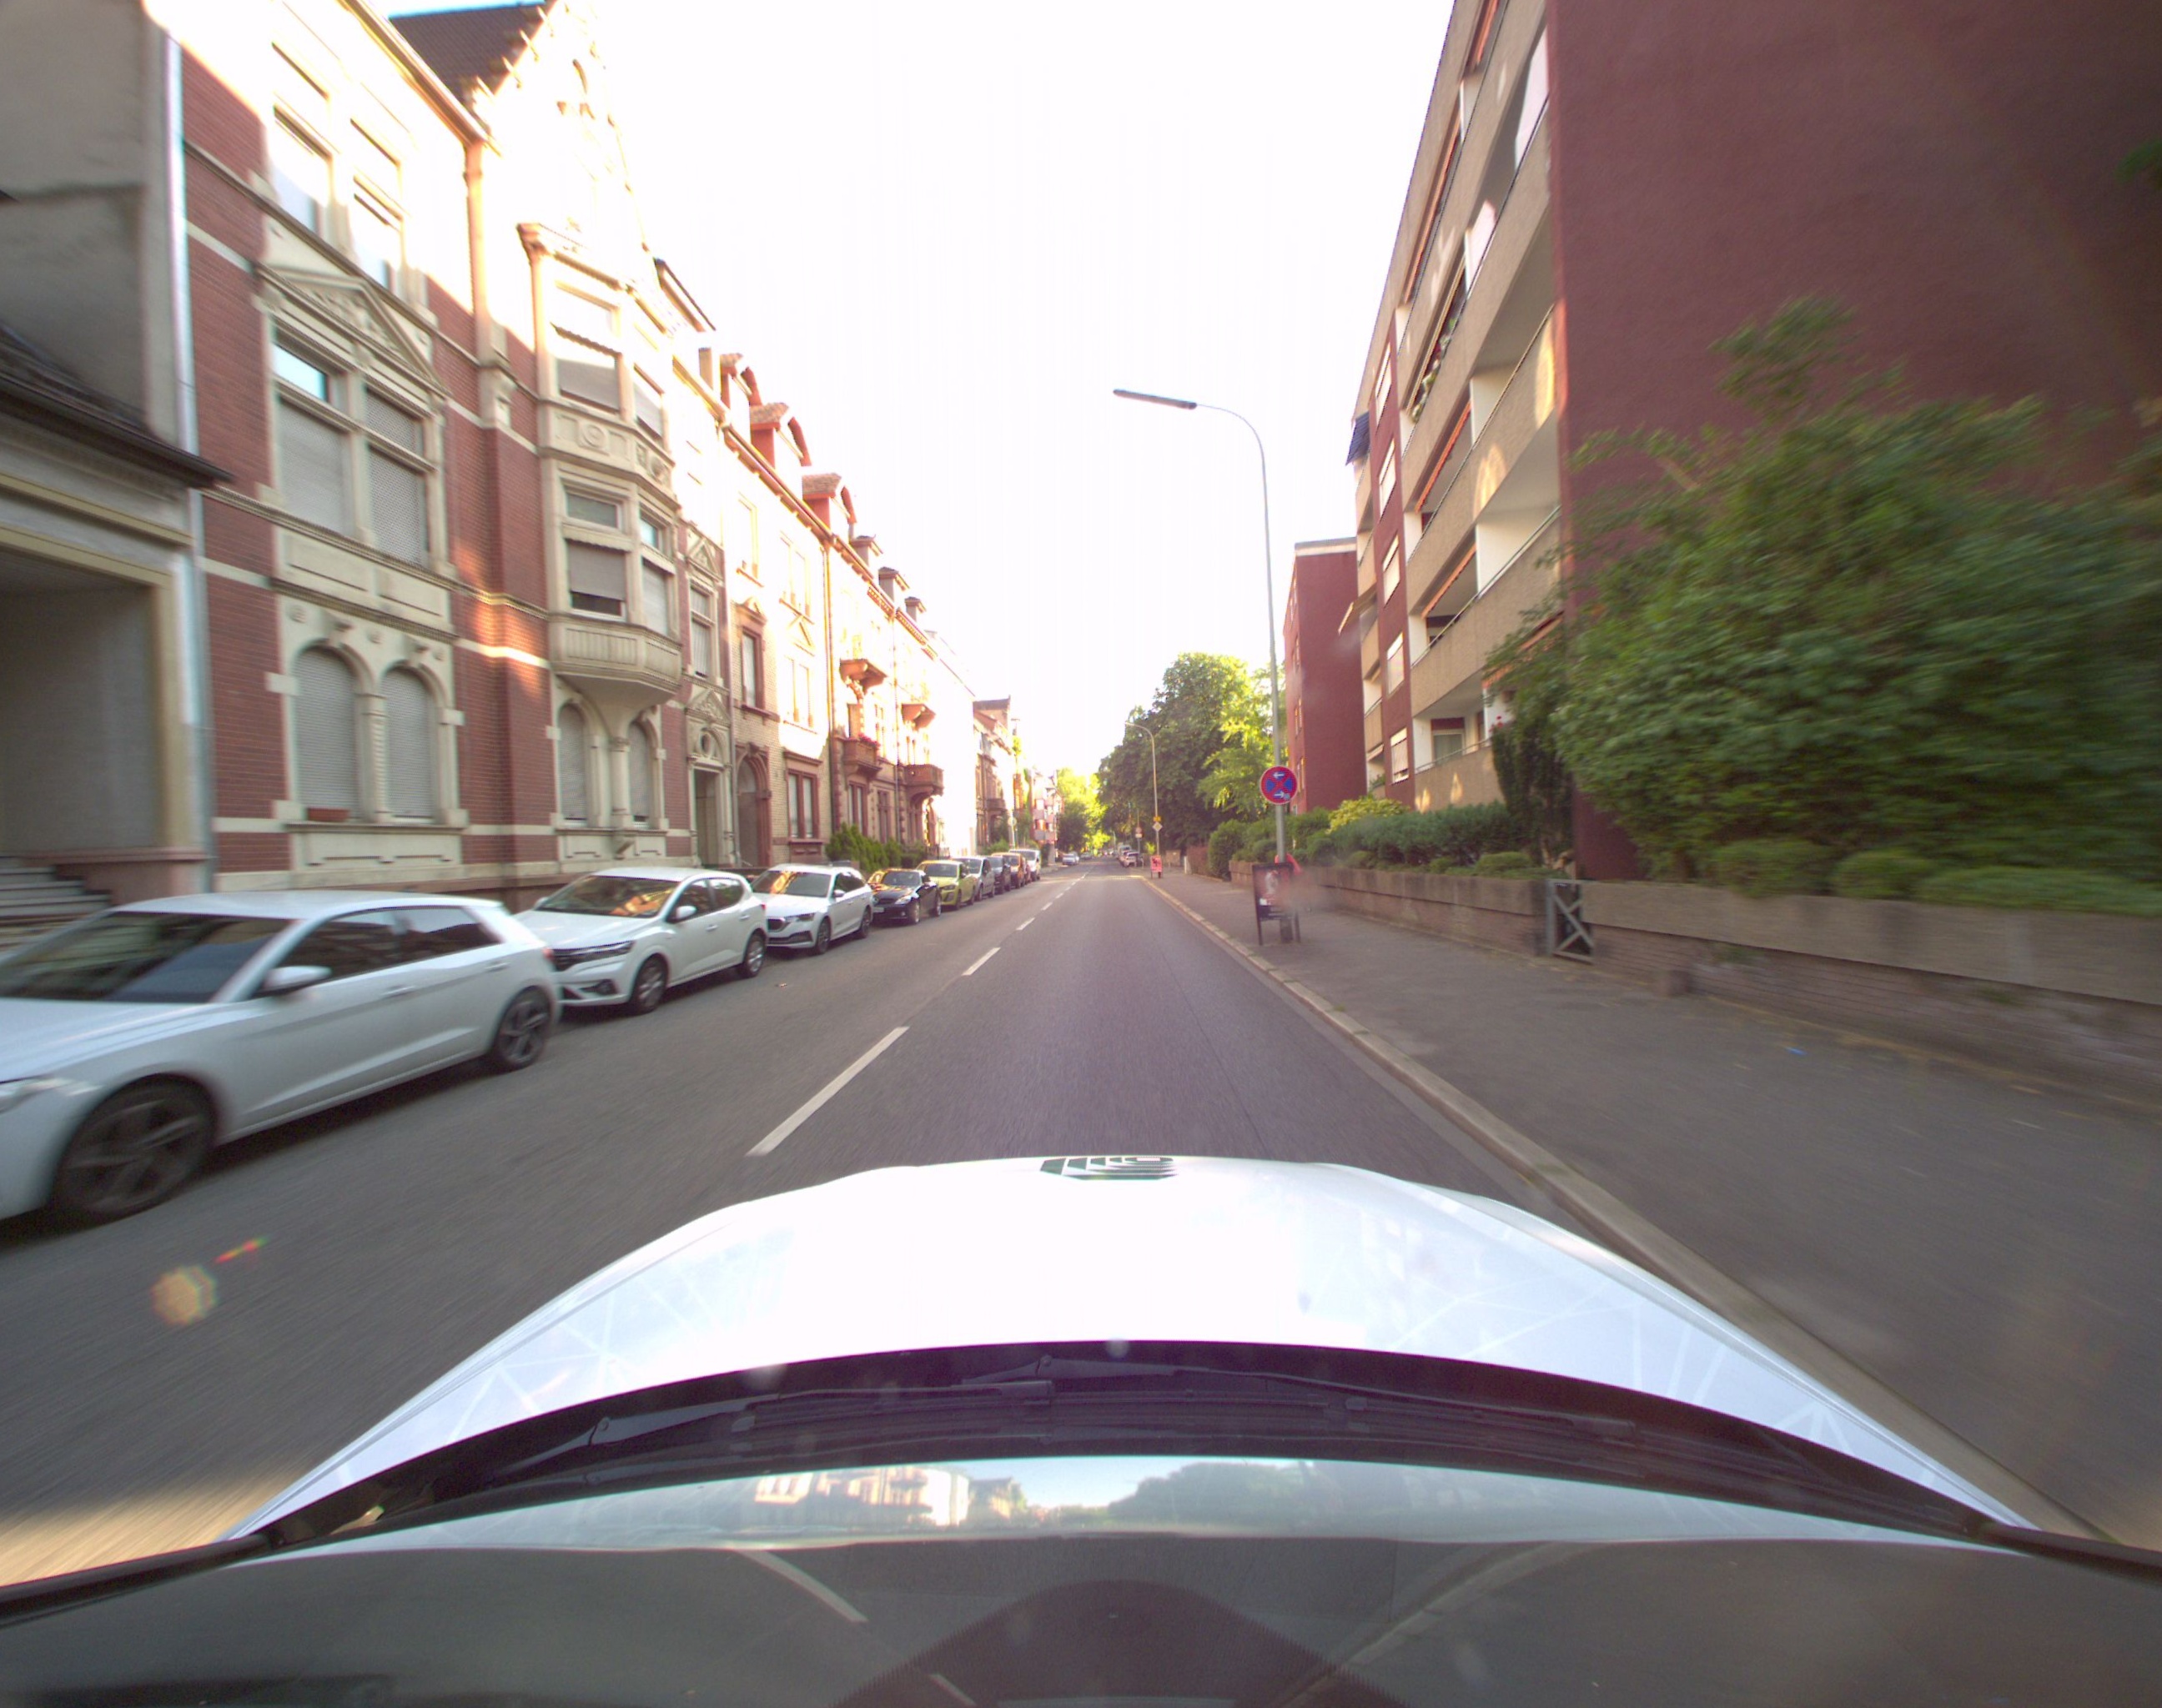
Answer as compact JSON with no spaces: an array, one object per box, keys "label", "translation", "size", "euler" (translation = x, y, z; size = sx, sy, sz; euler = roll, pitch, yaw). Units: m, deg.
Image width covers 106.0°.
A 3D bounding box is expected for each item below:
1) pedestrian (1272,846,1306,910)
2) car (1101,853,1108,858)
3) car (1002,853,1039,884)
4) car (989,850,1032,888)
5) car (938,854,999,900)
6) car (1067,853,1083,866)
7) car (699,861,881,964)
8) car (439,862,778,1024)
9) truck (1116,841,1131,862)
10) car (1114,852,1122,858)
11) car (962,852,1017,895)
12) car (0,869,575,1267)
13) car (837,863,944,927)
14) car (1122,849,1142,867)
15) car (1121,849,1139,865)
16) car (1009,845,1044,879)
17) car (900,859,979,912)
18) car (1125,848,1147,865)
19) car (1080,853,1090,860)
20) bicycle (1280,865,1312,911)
[{"label":"pedestrian","translation":[4.730,0.528,18.510],"size":[0.596,1.403,0.668],"euler":[-1,1,0]},{"label":"car","translation":[7.036,0.418,239.873],"size":[1.986,1.491,4.473],"euler":[-3,1,2]},{"label":"car","translation":[-3.352,0.752,45.605],"size":[1.696,1.619,4.118],"euler":[-1,0,1]},{"label":"car","translation":[-3.440,0.713,40.243],"size":[1.696,1.738,3.857],"euler":[-1,0,1]},{"label":"car","translation":[-4.142,0.811,30.491],"size":[1.696,1.584,3.636],"euler":[-1,0,1]},{"label":"car","translation":[-0.840,0.742,112.284],"size":[1.986,1.491,4.473],"euler":[-3,1,2]},{"label":"car","translation":[-5.182,0.947,15.213],"size":[1.696,1.536,4.550],"euler":[-1,0,1]},{"label":"car","translation":[-5.420,0.904,10.057],"size":[1.696,1.503,4.023],"euler":[-1,0,2]},{"label":"truck","translation":[6.356,-0.426,120.973],"size":[1.986,2.896,4.472],"euler":[-3,1,1]},{"label":"car","translation":[10.235,0.210,226.632],"size":[1.988,1.491,4.468],"euler":[-3,1,-1]},{"label":"car","translation":[-3.920,0.787,35.511],"size":[1.695,1.707,4.443],"euler":[-1,0,3]},{"label":"car","translation":[-5.177,0.907,4.988],"size":[1.696,1.503,3.823],"euler":[-1,0,1]},{"label":"car","translation":[-4.629,0.950,20.357],"size":[1.696,1.366,3.860],"euler":[-1,0,1]},{"label":"car","translation":[5.284,0.391,84.818],"size":[1.985,1.737,4.004],"euler":[-3,1,3]},{"label":"car","translation":[5.745,0.305,96.187],"size":[1.985,1.737,4.004],"euler":[-3,1,3]},{"label":"car","translation":[-3.385,0.473,51.119],"size":[1.787,2.010,4.698],"euler":[-1,0,1]},{"label":"car","translation":[-4.322,0.950,25.432],"size":[1.696,1.503,4.072],"euler":[-1,-1,1]},{"label":"car","translation":[5.393,0.245,79.934],"size":[1.985,1.517,4.004],"euler":[-3,1,3]},{"label":"car","translation":[0.927,0.515,179.215],"size":[1.986,1.491,4.473],"euler":[-3,1,2]},{"label":"bicycle","translation":[4.731,0.733,17.915],"size":[0.564,0.970,0.492],"euler":[-1,1,0]}]
